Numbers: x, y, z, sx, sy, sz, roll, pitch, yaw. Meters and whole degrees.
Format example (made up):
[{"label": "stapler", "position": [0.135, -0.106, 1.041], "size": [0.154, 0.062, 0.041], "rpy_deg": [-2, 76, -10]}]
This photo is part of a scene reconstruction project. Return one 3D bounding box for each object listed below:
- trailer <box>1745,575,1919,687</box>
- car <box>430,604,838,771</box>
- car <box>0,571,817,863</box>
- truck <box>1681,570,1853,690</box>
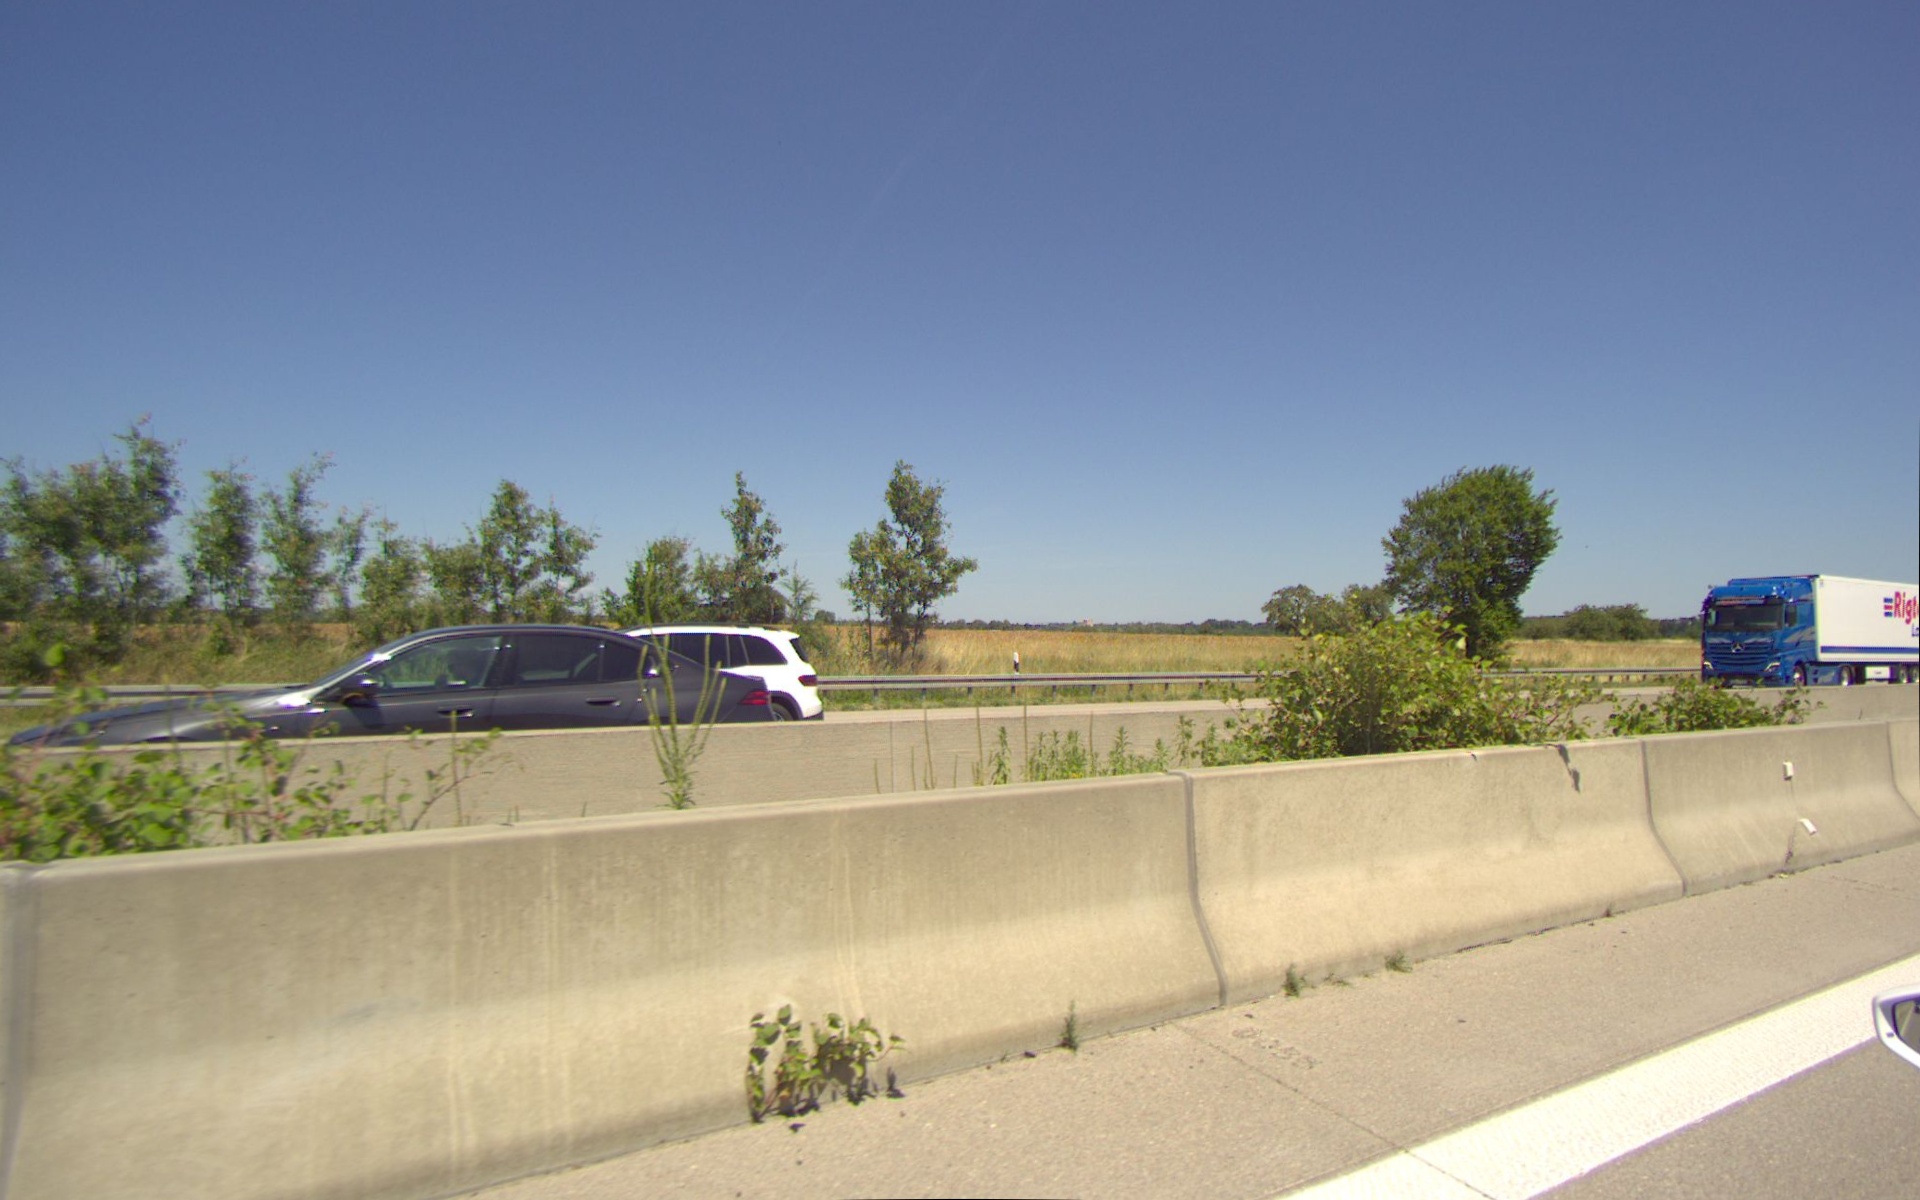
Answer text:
[{"label": "trailer", "position": [35.785, 1.224, 39.875], "size": [12.364, 3.961, 2.894], "rpy_deg": [2, 0, -31]}, {"label": "car", "position": [-3.996, 0.983, 12.655], "size": [4.582, 1.746, 1.764], "rpy_deg": [2, 0, -33]}, {"label": "car", "position": [-3.799, 0.700, 7.641], "size": [5.015, 1.629, 1.914], "rpy_deg": [2, 0, -30]}, {"label": "truck", "position": [28.665, 1.038, 35.665], "size": [5.618, 3.915, 2.883], "rpy_deg": [2, 0, -30]}]
